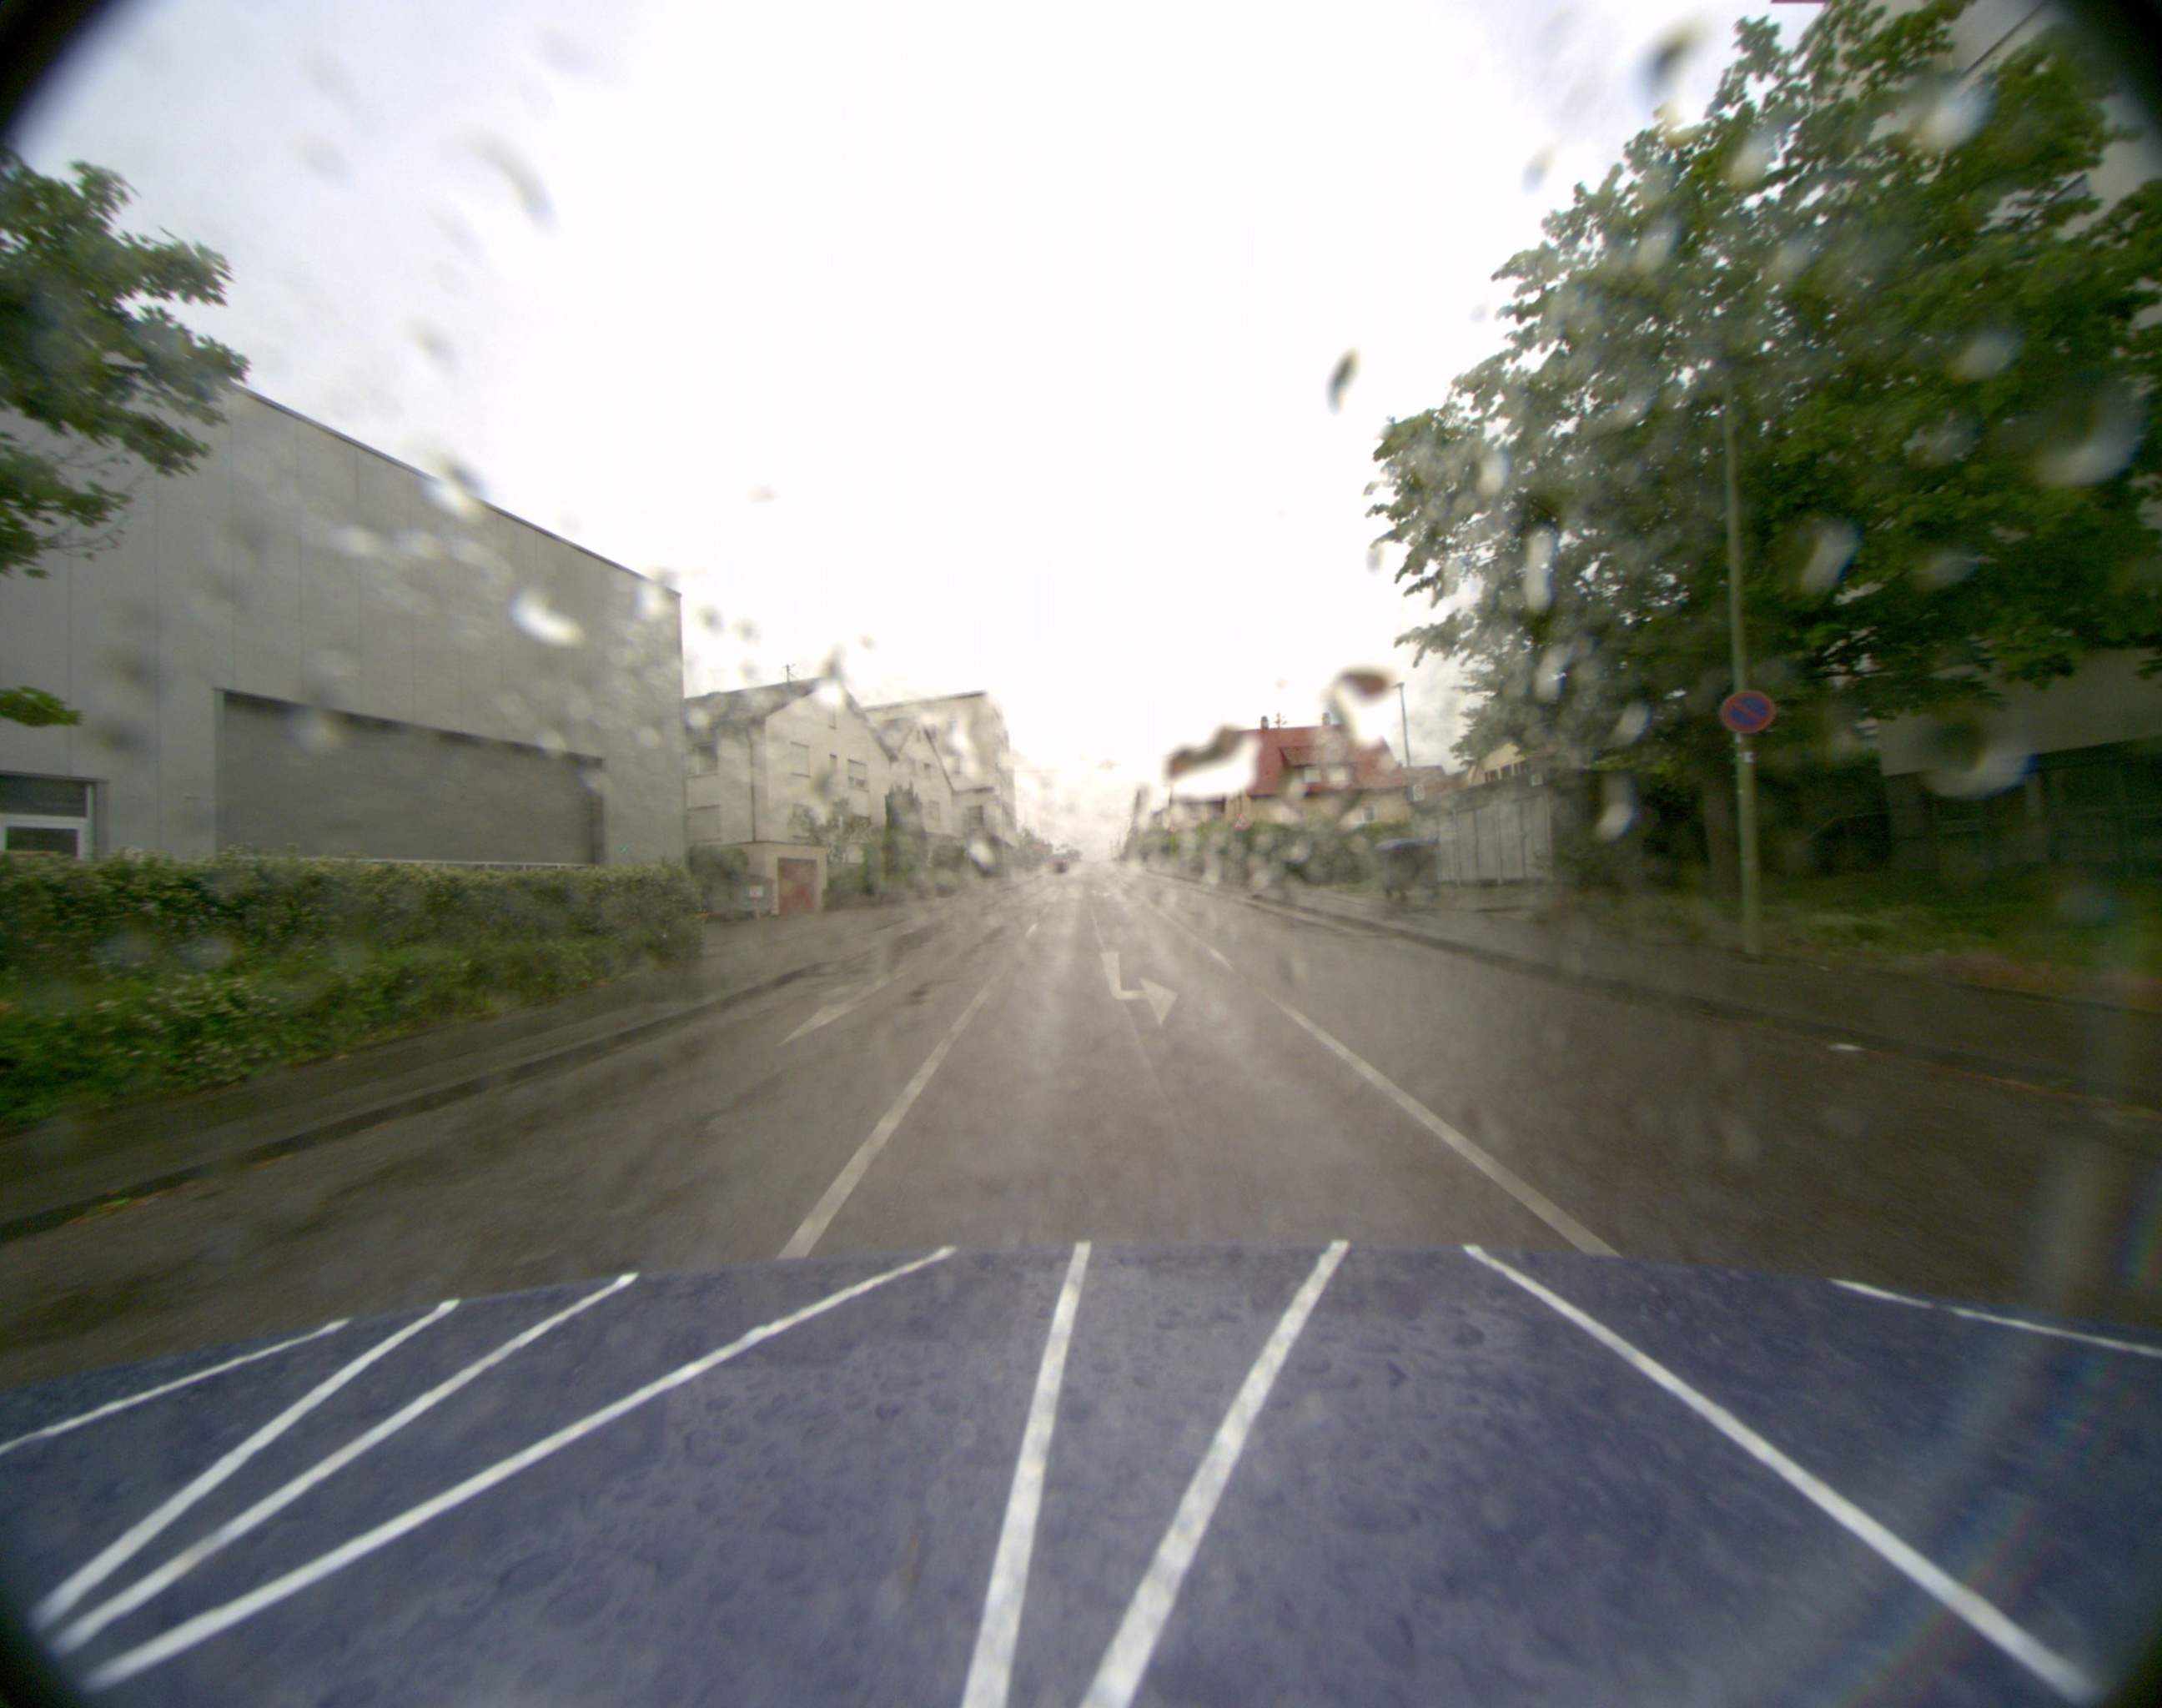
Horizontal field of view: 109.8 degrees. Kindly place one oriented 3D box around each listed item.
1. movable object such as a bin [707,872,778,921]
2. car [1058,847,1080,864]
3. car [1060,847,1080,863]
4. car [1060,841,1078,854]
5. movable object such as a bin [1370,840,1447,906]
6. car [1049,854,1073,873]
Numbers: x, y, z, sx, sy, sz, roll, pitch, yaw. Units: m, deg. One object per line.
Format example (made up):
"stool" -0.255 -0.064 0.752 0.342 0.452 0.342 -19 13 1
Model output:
"movable object such as a bin" -11.434 1.423 25.726 1.446 1.526 1.591 -2 -1 16
"car" -1.139 0.157 72.862 1.848 1.514 4.000 -3 0 2
"car" -1.157 0.084 80.401 1.848 1.514 4.000 -3 0 2
"car" -1.464 -0.751 92.436 1.848 1.514 4.000 -3 0 2
"movable object such as a bin" 7.240 0.409 16.867 1.056 1.289 1.201 -8 -1 1
"car" -1.753 0.850 67.485 1.848 1.514 4.000 -3 0 2
